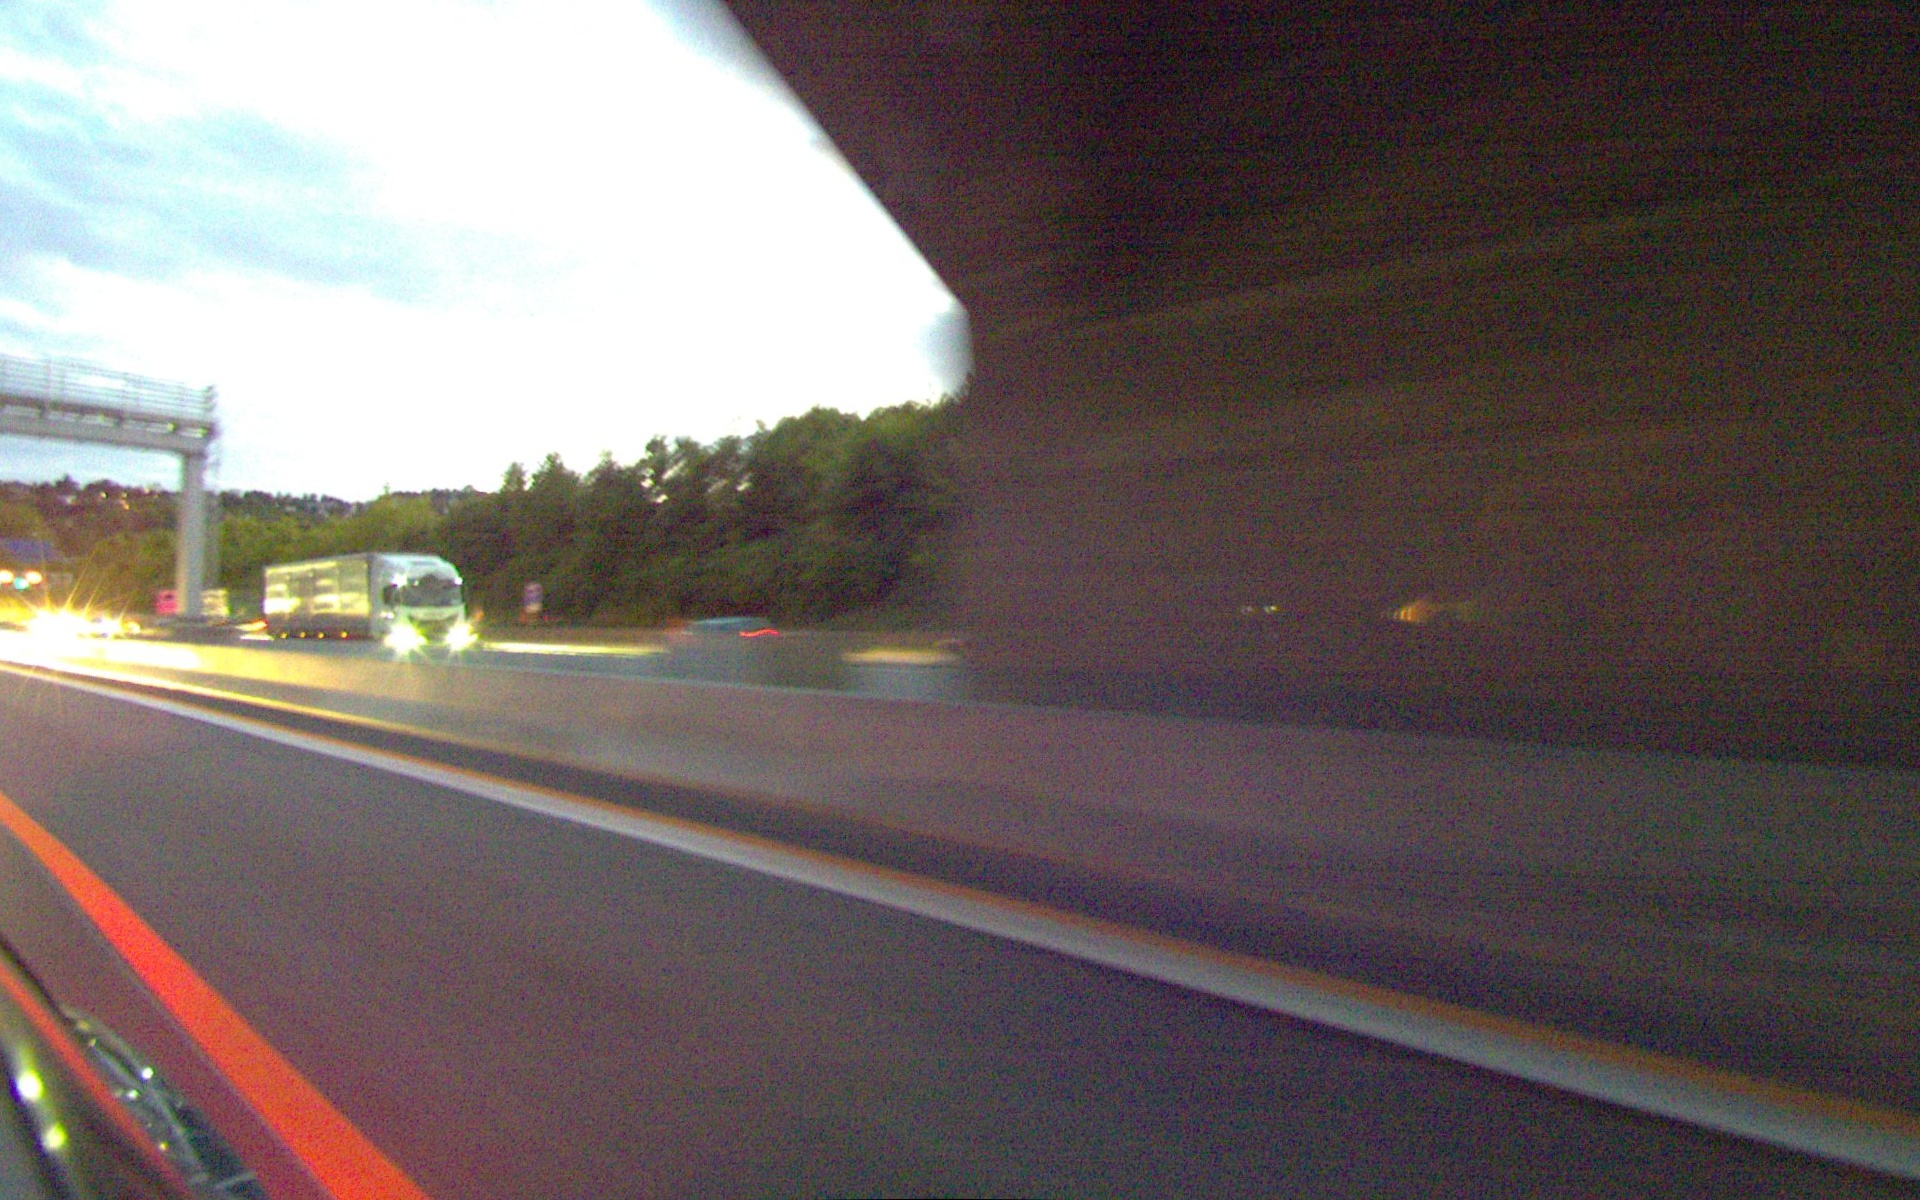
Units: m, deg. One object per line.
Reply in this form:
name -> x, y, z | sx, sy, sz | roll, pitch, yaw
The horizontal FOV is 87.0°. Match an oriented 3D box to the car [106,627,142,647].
car -> -78.615, 3.465, 95.099 | 4.514, 1.688, 1.972 | -1, 1, 42

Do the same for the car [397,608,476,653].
car -> -27.713, 1.577, 53.514 | 4.798, 2.206, 1.973 | -1, 1, 40

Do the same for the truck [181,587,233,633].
truck -> -72.477, 0.945, 97.355 | 6.384, 4.202, 2.748 | -1, 1, 42

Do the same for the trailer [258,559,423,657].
trailer -> -27.378, 0.325, 44.326 | 11.830, 3.811, 2.769 | -1, 1, 41

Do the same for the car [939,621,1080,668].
car -> 1.501, 1.333, 31.248 | 3.996, 1.333, 1.974 | -1, -2, 39

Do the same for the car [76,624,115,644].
car -> -70.607, 2.793, 82.643 | 3.996, 1.492, 1.769 | -1, 1, 40

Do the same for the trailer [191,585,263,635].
trailer -> -66.941, 0.883, 92.305 | 12.399, 4.237, 2.749 | -1, 1, 42

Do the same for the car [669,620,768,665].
car -> -8.460, 1.432, 35.338 | 3.518, 1.417, 1.610 | -1, 1, 41

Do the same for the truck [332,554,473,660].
truck -> -21.787, 0.262, 39.402 | 6.299, 3.803, 2.774 | -1, 1, 41

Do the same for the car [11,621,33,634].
car -> -132.277, 3.863, 142.733 | 5.167, 1.650, 1.719 | -1, 1, 40

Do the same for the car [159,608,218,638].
car -> -51.139, 1.503, 67.072 | 4.696, 1.898, 2.070 | -1, 1, 40
